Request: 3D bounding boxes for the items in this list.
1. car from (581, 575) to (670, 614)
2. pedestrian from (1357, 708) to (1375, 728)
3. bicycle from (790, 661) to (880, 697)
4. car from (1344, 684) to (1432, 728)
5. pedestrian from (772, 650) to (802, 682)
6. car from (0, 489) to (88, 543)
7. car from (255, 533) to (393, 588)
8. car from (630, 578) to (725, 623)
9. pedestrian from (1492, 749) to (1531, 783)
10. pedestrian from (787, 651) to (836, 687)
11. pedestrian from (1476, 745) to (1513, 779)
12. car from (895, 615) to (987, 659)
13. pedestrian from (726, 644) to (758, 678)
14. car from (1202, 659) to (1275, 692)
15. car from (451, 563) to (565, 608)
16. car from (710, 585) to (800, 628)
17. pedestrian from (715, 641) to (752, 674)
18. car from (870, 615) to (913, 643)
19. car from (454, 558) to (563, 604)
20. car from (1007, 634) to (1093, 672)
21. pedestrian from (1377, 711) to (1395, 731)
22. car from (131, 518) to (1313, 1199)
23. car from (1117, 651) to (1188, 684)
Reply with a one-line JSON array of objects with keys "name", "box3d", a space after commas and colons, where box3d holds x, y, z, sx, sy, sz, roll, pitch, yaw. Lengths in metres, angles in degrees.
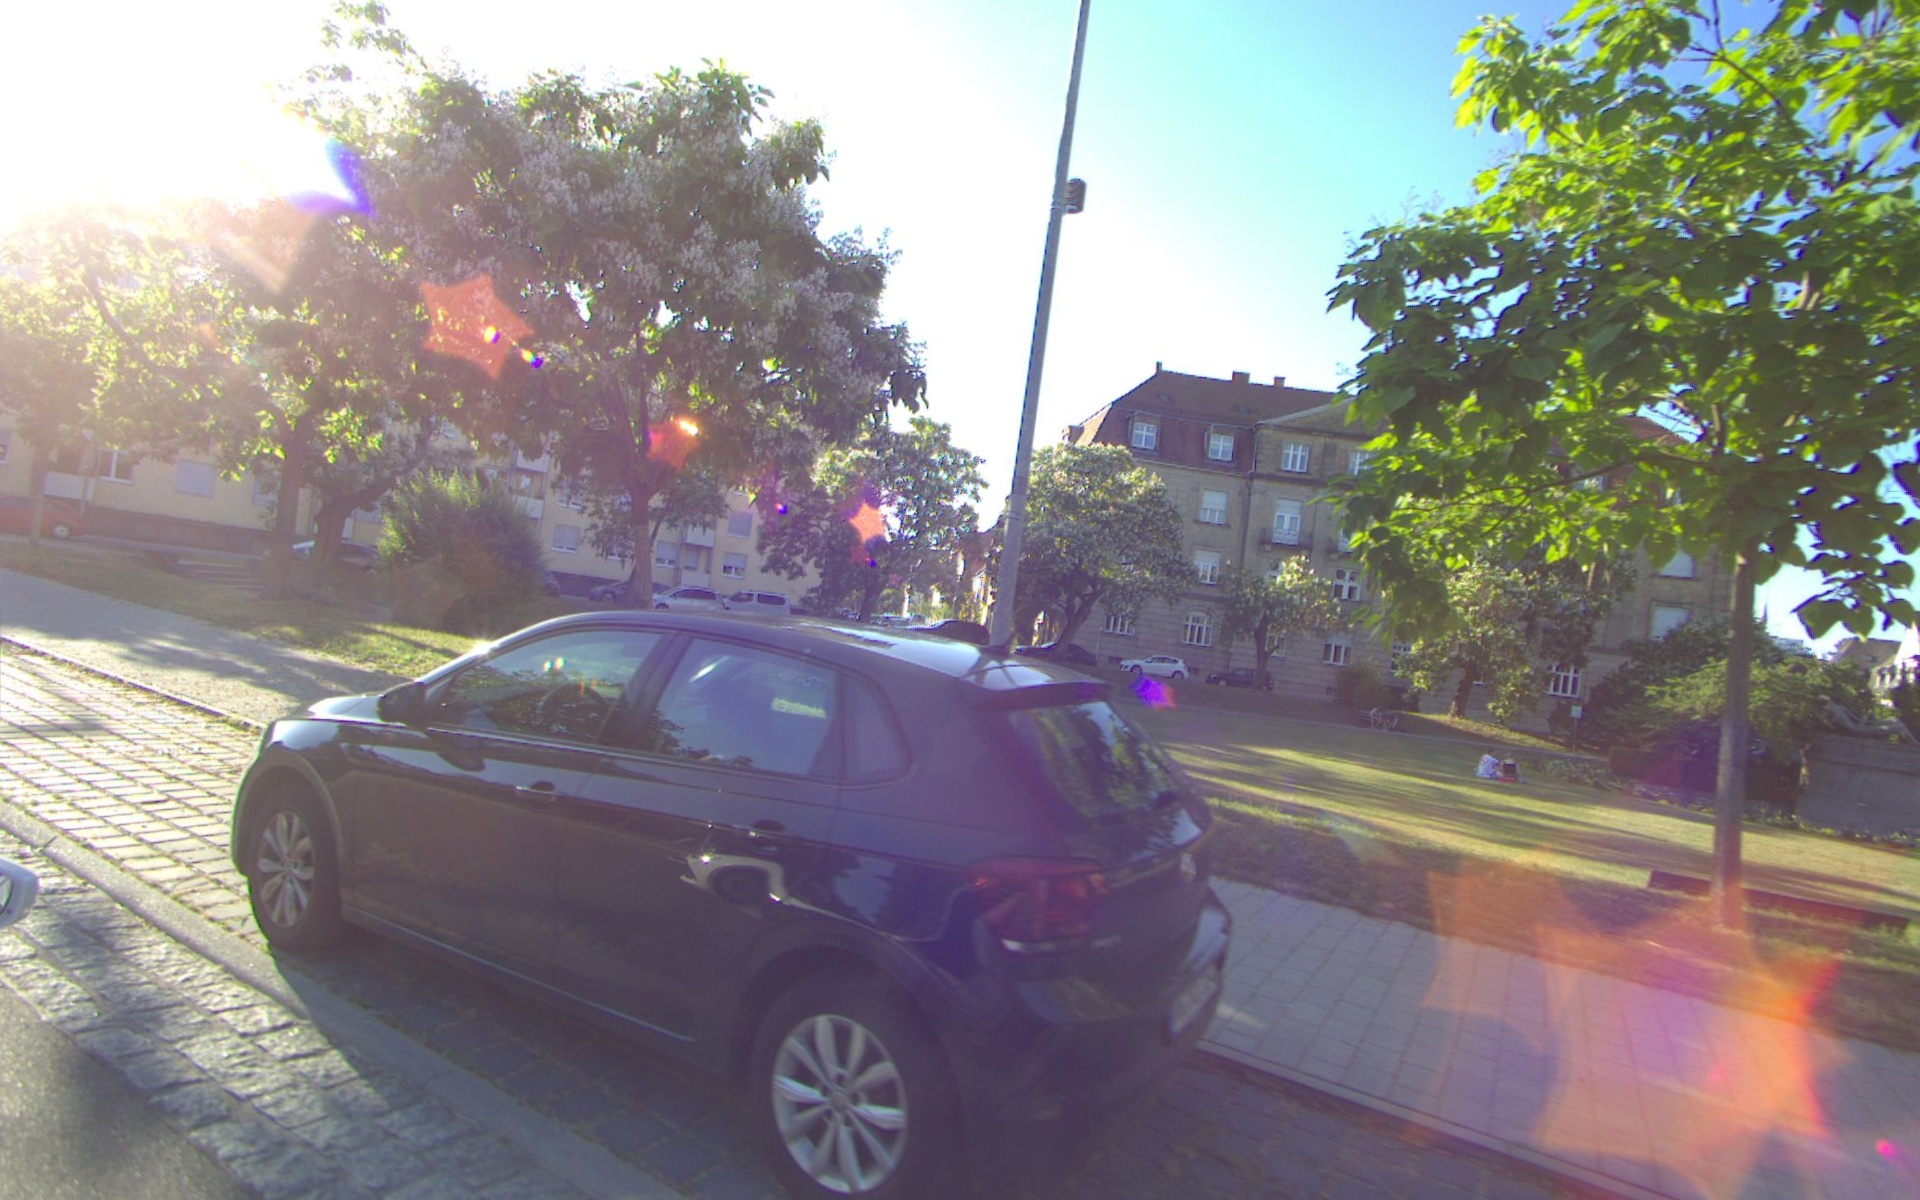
[{"name": "car", "box3d": [-17.450, -0.295, 52.511, 3.959, 1.470, 1.866, 8, -1, -31]}, {"name": "pedestrian", "box3d": [18.567, 5.390, 46.014, 0.655, 0.803, 0.587, 7, -1, 20]}, {"name": "bicycle", "box3d": [-3.399, 2.122, 27.190, 1.756, 0.622, 1.795, 9, -2, -35]}, {"name": "car", "box3d": [23.798, 5.882, 56.030, 3.925, 1.725, 2.002, 8, -2, 3]}, {"name": "pedestrian", "box3d": [-4.982, 1.897, 28.938, 0.602, 0.822, 0.473, 7, -2, 33]}, {"name": "car", "box3d": [-34.648, -3.203, 36.440, 1.969, 1.548, 4.198, 7, -2, 35]}, {"name": "car", "box3d": [-24.647, -1.502, 39.068, 4.184, 1.480, 1.672, 9, -2, -44]}, {"name": "car", "box3d": [-13.465, 0.031, 48.025, 3.960, 1.570, 1.597, 8, -1, -32]}, {"name": "pedestrian", "box3d": [15.494, 4.650, 28.264, 0.578, 0.803, 0.666, 7, -1, -12]}, {"name": "pedestrian", "box3d": [-4.204, 1.949, 28.446, 1.240, 0.822, 0.573, 9, -2, -14]}, {"name": "pedestrian", "box3d": [15.378, 4.653, 28.938, 0.578, 0.803, 0.666, 7, -1, -12]}, {"name": "car", "box3d": [-1.018, 1.969, 53.707, 4.457, 1.766, 1.875, 8, -1, -15]}, {"name": "pedestrian", "box3d": [-5.952, 1.664, 27.458, 0.602, 0.822, 0.473, 7, -2, 33]}, {"name": "car", "box3d": [17.297, 4.682, 62.598, 3.924, 1.470, 1.882, 7, -1, 5]}, {"name": "car", "box3d": [-19.662, -0.614, 43.845, 4.176, 1.373, 1.675, 9, -2, -39]}, {"name": "car", "box3d": [-11.443, 0.368, 56.108, 4.469, 1.766, 1.870, 8, -1, -24]}, {"name": "pedestrian", "box3d": [-6.474, 1.652, 28.721, 0.712, 0.822, 0.612, 7, -2, 33]}, {"name": "car", "box3d": [-5.047, 2.118, 73.718, 1.612, 1.668, 4.224, 8, -1, -25]}, {"name": "car", "box3d": [-22.214, -0.910, 49.595, 4.494, 1.588, 1.859, 9, -2, -40]}, {"name": "car", "box3d": [4.937, 2.909, 55.603, 4.292, 1.470, 1.879, 8, -1, -7]}, {"name": "pedestrian", "box3d": [19.353, 5.505, 45.695, 0.655, 0.803, 0.587, 7, -1, 20]}, {"name": "car", "box3d": [-1.050, 0.686, 3.788, 4.175, 1.481, 1.630, 7, -1, 28]}, {"name": "car", "box3d": [11.917, 4.179, 62.505, 3.926, 1.470, 1.881, 7, -1, 0]}]
